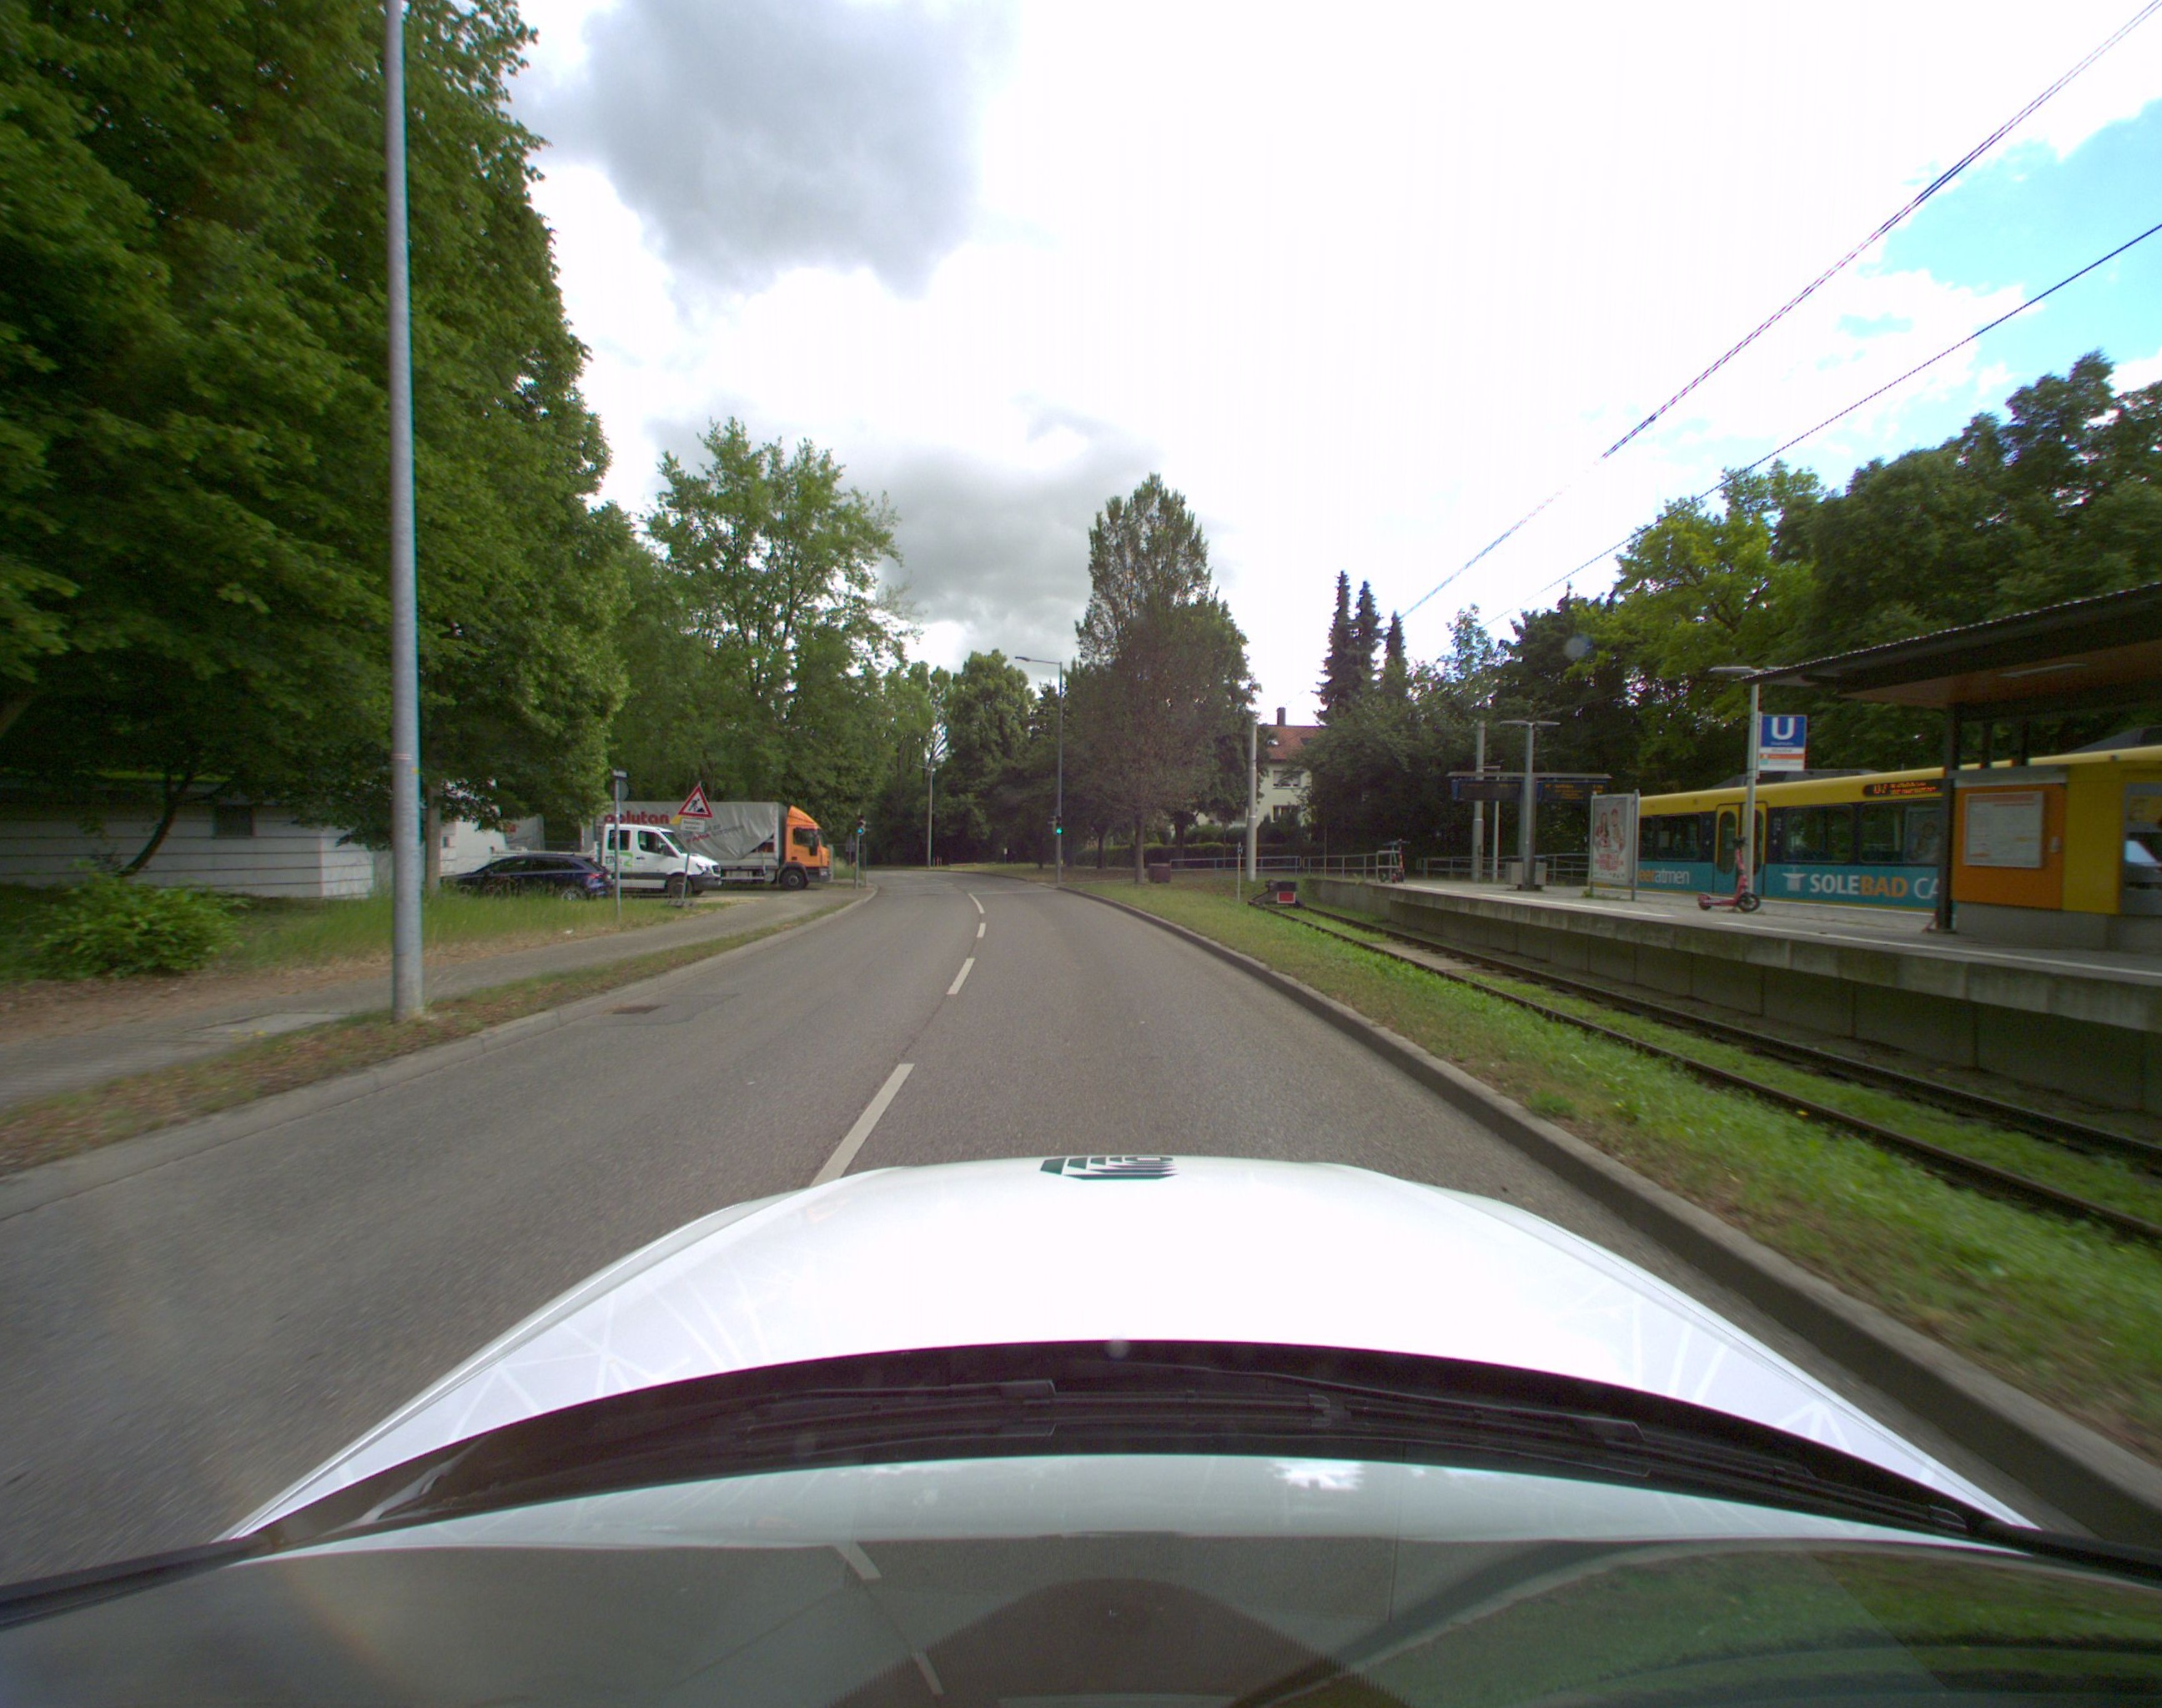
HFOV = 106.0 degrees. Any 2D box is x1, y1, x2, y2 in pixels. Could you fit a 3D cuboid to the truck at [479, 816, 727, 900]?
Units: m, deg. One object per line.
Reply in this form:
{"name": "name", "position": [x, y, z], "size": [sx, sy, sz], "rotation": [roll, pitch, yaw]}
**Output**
{"name": "truck", "position": [-14.983, 0.184, 26.002], "size": [6.396, 2.416, 2.113], "rotation": [1, -1, -15]}

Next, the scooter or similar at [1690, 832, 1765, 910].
{"name": "scooter or similar", "position": [10.742, 0.263, 13.566], "size": [0.367, 1.242, 1.146], "rotation": [0, 0, 2]}

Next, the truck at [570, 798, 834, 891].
{"name": "truck", "position": [-14.949, -0.320, 32.914], "size": [9.238, 3.531, 2.554], "rotation": [0, -1, -13]}

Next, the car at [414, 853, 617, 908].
{"name": "car", "position": [-14.629, 0.701, 21.349], "size": [4.000, 1.327, 1.705], "rotation": [1, -3, -20]}

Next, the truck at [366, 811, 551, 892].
{"name": "truck", "position": [-26.339, -0.156, 34.818], "size": [5.932, 3.199, 2.431], "rotation": [-1, 2, -30]}

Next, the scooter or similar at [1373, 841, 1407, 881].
{"name": "scooter or similar", "position": [9.823, 0.241, 25.922], "size": [0.430, 1.253, 1.250], "rotation": [0, -2, -10]}

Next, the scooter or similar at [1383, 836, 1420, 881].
{"name": "scooter or similar", "position": [9.225, 0.151, 23.504], "size": [0.429, 1.253, 1.251], "rotation": [-1, -2, -7]}

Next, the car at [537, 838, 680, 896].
{"name": "car", "position": [-16.711, 0.444, 28.994], "size": [3.992, 1.909, 1.773], "rotation": [2, 0, -14]}

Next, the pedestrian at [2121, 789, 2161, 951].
{"name": "pedestrian", "position": [10.829, 0.153, 7.916], "size": [0.617, 1.573, 0.668], "rotation": [0, 0, 19]}

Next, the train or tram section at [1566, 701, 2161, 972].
{"name": "train or tram section", "position": [15.796, -0.241, 14.800], "size": [2.803, 3.588, 19.522], "rotation": [2, 1, 2]}
